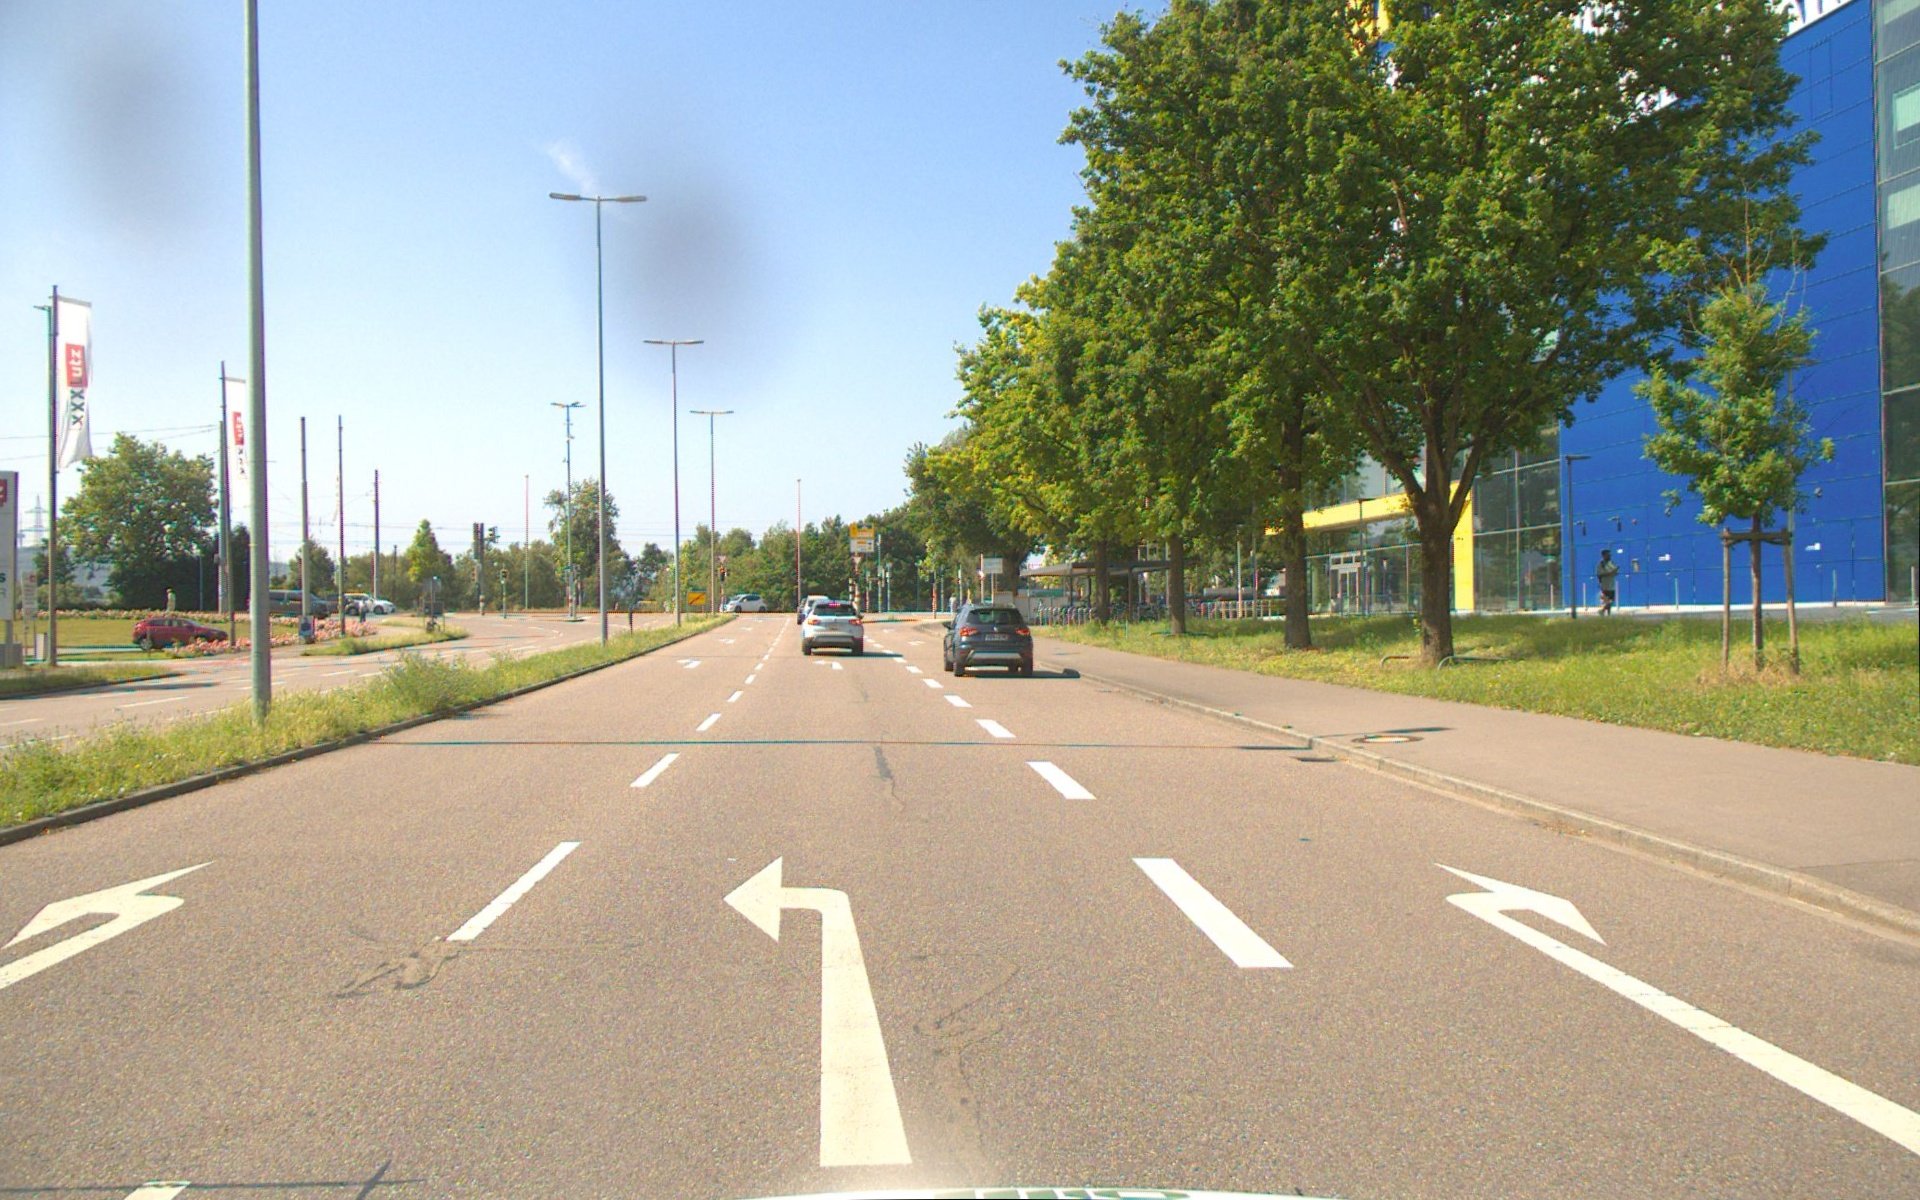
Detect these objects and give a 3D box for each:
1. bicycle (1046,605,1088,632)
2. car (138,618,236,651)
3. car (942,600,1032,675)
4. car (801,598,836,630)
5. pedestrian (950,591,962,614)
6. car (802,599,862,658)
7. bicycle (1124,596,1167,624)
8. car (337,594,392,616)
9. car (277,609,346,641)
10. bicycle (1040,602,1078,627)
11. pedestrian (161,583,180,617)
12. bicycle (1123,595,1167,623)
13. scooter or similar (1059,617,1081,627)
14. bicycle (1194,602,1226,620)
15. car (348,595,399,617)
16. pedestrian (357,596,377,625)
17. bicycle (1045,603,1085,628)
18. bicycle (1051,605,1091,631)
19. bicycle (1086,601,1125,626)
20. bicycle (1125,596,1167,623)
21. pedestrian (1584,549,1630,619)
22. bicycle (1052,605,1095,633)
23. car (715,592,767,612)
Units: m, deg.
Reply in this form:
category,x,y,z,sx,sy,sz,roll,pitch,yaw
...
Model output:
category,x,y,z,sx,sy,sz,roll,pitch,yaw
bicycle,4.602,0.801,70.930,1.724,1.115,0.451,-1,0,-6
car,-38.991,1.743,83.507,4.107,1.634,1.822,0,-2,-11
car,0.548,0.793,36.116,1.637,1.550,3.373,0,0,-5
car,-7.470,0.713,87.228,1.674,1.600,4.168,-1,0,-7
pedestrian,-0.282,0.161,114.279,0.756,1.537,1.008,-1,1,5
car,-3.736,0.787,47.789,1.600,1.524,3.865,0,2,-7
bicycle,7.778,0.424,69.525,1.724,1.115,0.451,-1,0,-6
car,-41.324,0.349,114.774,3.322,1.526,1.407,-1,-2,-8
car,-42.451,1.606,108.214,3.902,1.959,1.818,1,1,16
bicycle,4.598,0.672,76.765,1.724,1.115,0.451,-1,0,-6
pedestrian,-48.115,-0.001,100.836,0.701,2.007,0.917,-1,-2,-1
bicycle,7.545,0.373,67.526,1.724,1.115,0.451,-1,0,-6
scooter or similar,5.290,1.075,79.738,0.897,0.459,0.962,-3,-1,14
bicycle,12.336,0.557,81.612,1.531,0.858,0.433,-1,0,-4
car,-42.064,0.431,118.658,3.282,1.526,1.406,0,-2,-10
pedestrian,-35.827,0.629,99.946,0.822,1.737,0.906,-1,0,6
bicycle,4.747,0.693,74.759,1.724,1.115,0.451,-1,0,-6
bicycle,4.923,0.800,73.244,1.724,1.115,0.451,-1,0,-6
bicycle,6.647,0.626,75.716,1.724,1.115,0.451,-1,0,-6
bicycle,7.963,0.412,70.719,1.724,1.115,0.451,-1,0,-6
pedestrian,15.447,-0.382,39.494,0.675,1.640,0.770,-2,0,-9
bicycle,4.771,0.799,69.443,1.724,1.115,0.451,-1,0,-6
car,-17.886,0.190,134.989,1.767,1.574,4.063,-1,-1,41
